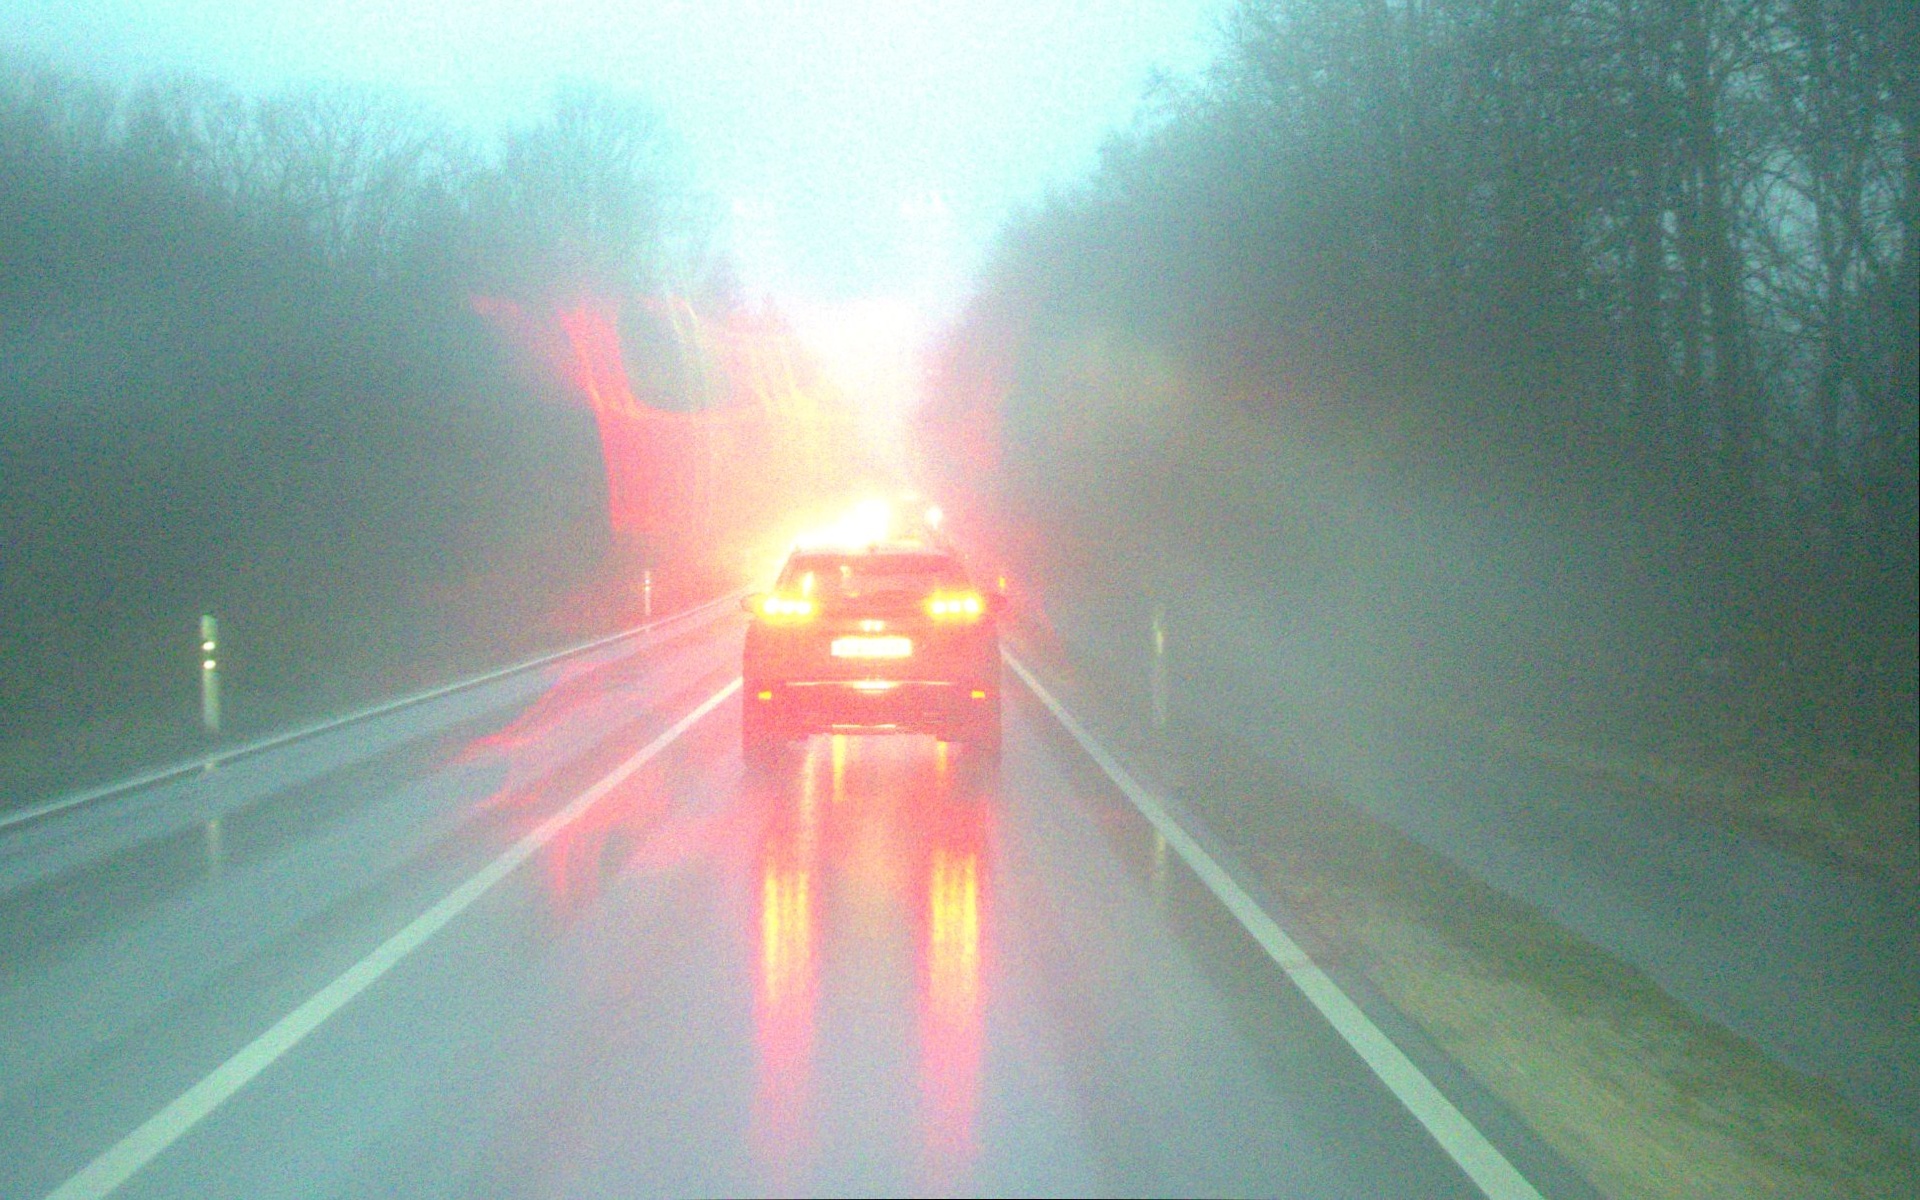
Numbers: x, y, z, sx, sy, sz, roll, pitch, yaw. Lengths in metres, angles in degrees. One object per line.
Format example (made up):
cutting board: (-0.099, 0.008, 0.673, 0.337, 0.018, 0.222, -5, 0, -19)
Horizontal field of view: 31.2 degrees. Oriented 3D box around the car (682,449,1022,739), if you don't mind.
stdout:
car: (-0.761, -0.104, 24.898, 2.198, 1.871, 4.828, 1, 2, -1)
